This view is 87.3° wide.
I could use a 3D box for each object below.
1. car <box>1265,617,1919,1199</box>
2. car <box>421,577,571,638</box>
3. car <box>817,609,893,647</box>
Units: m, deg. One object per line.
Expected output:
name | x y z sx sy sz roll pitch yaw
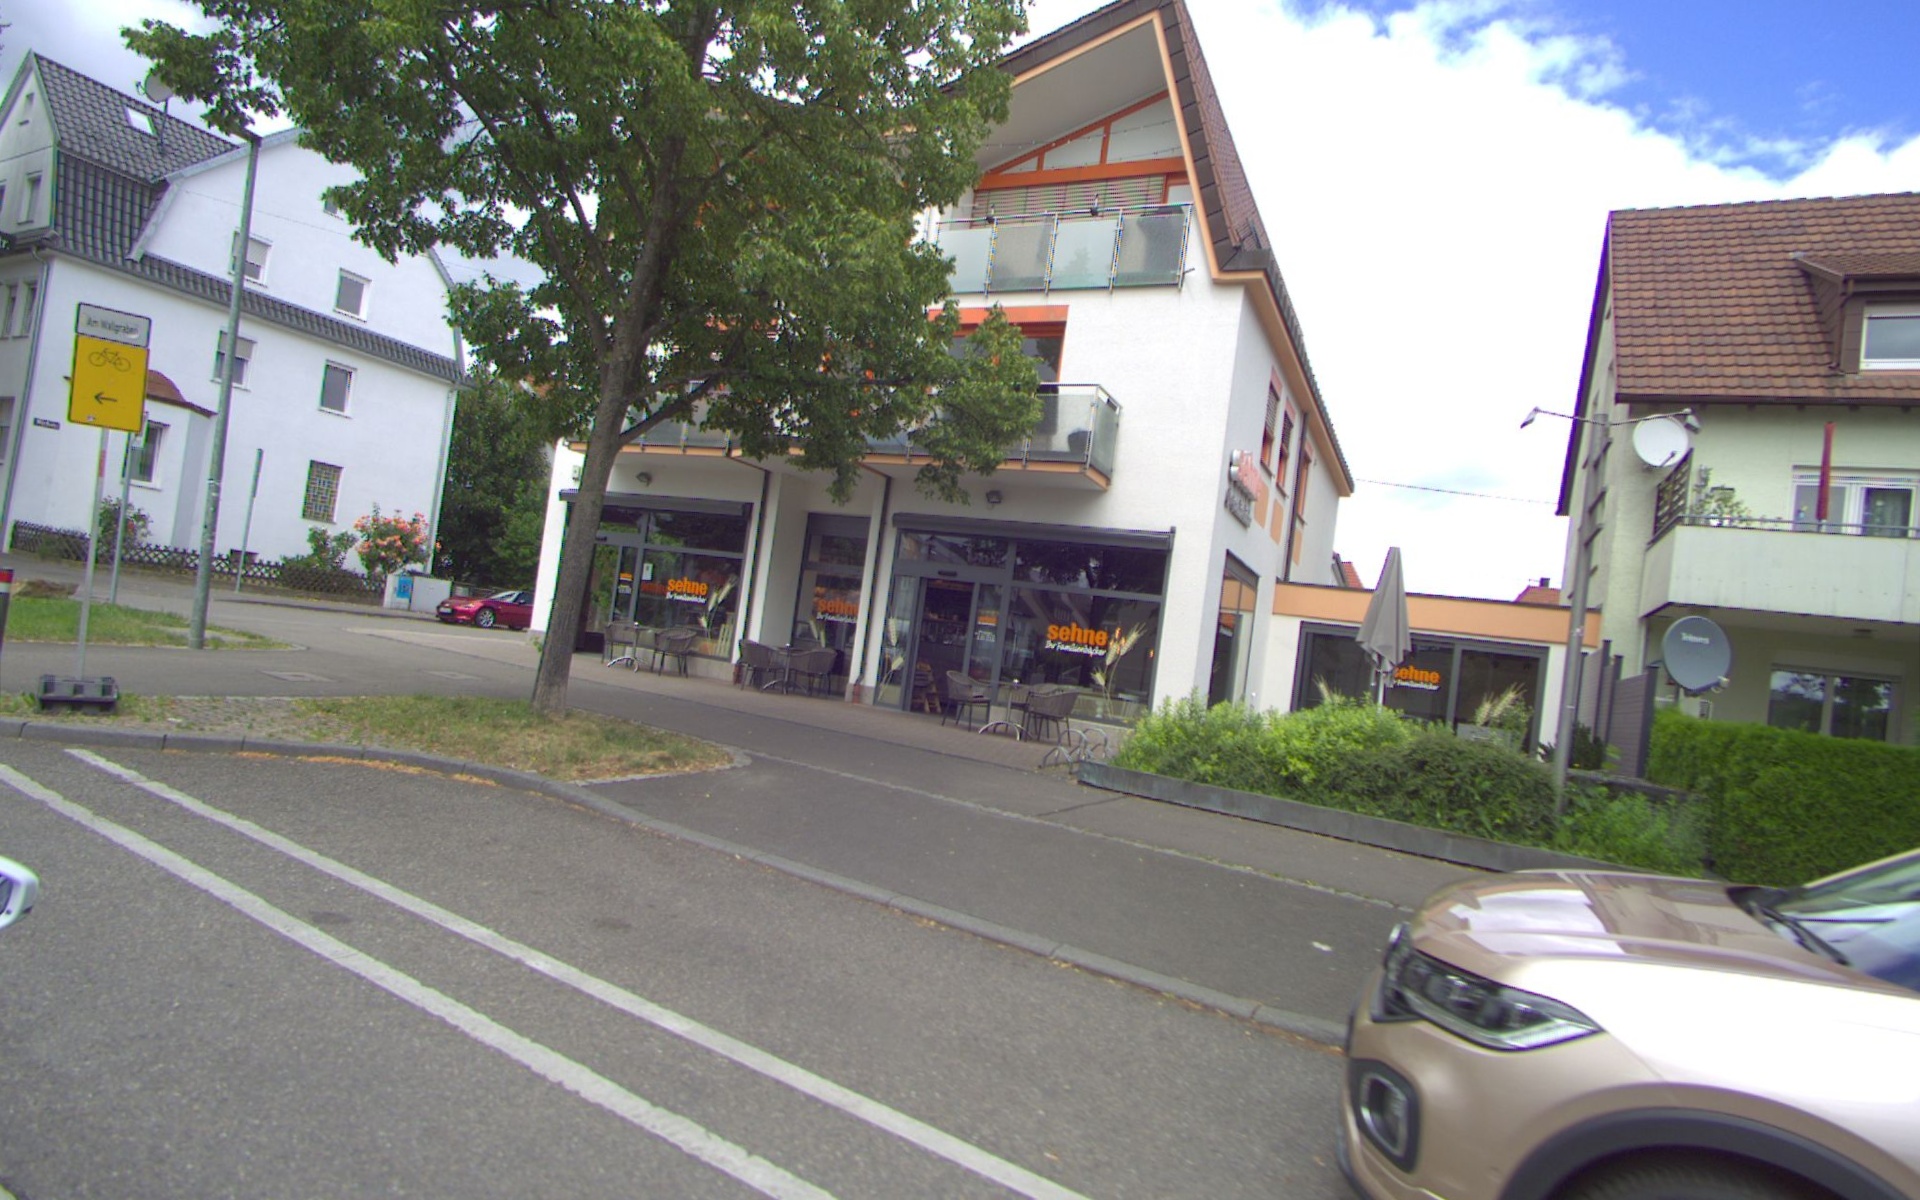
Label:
car | 2.905 1.133 2.113 3.991 1.598 1.727 7 -2 29
car | -13.777 0.251 30.078 1.716 1.244 3.709 7 -3 28
car | -4.936 1.354 47.731 1.630 1.321 3.695 7 -2 28
